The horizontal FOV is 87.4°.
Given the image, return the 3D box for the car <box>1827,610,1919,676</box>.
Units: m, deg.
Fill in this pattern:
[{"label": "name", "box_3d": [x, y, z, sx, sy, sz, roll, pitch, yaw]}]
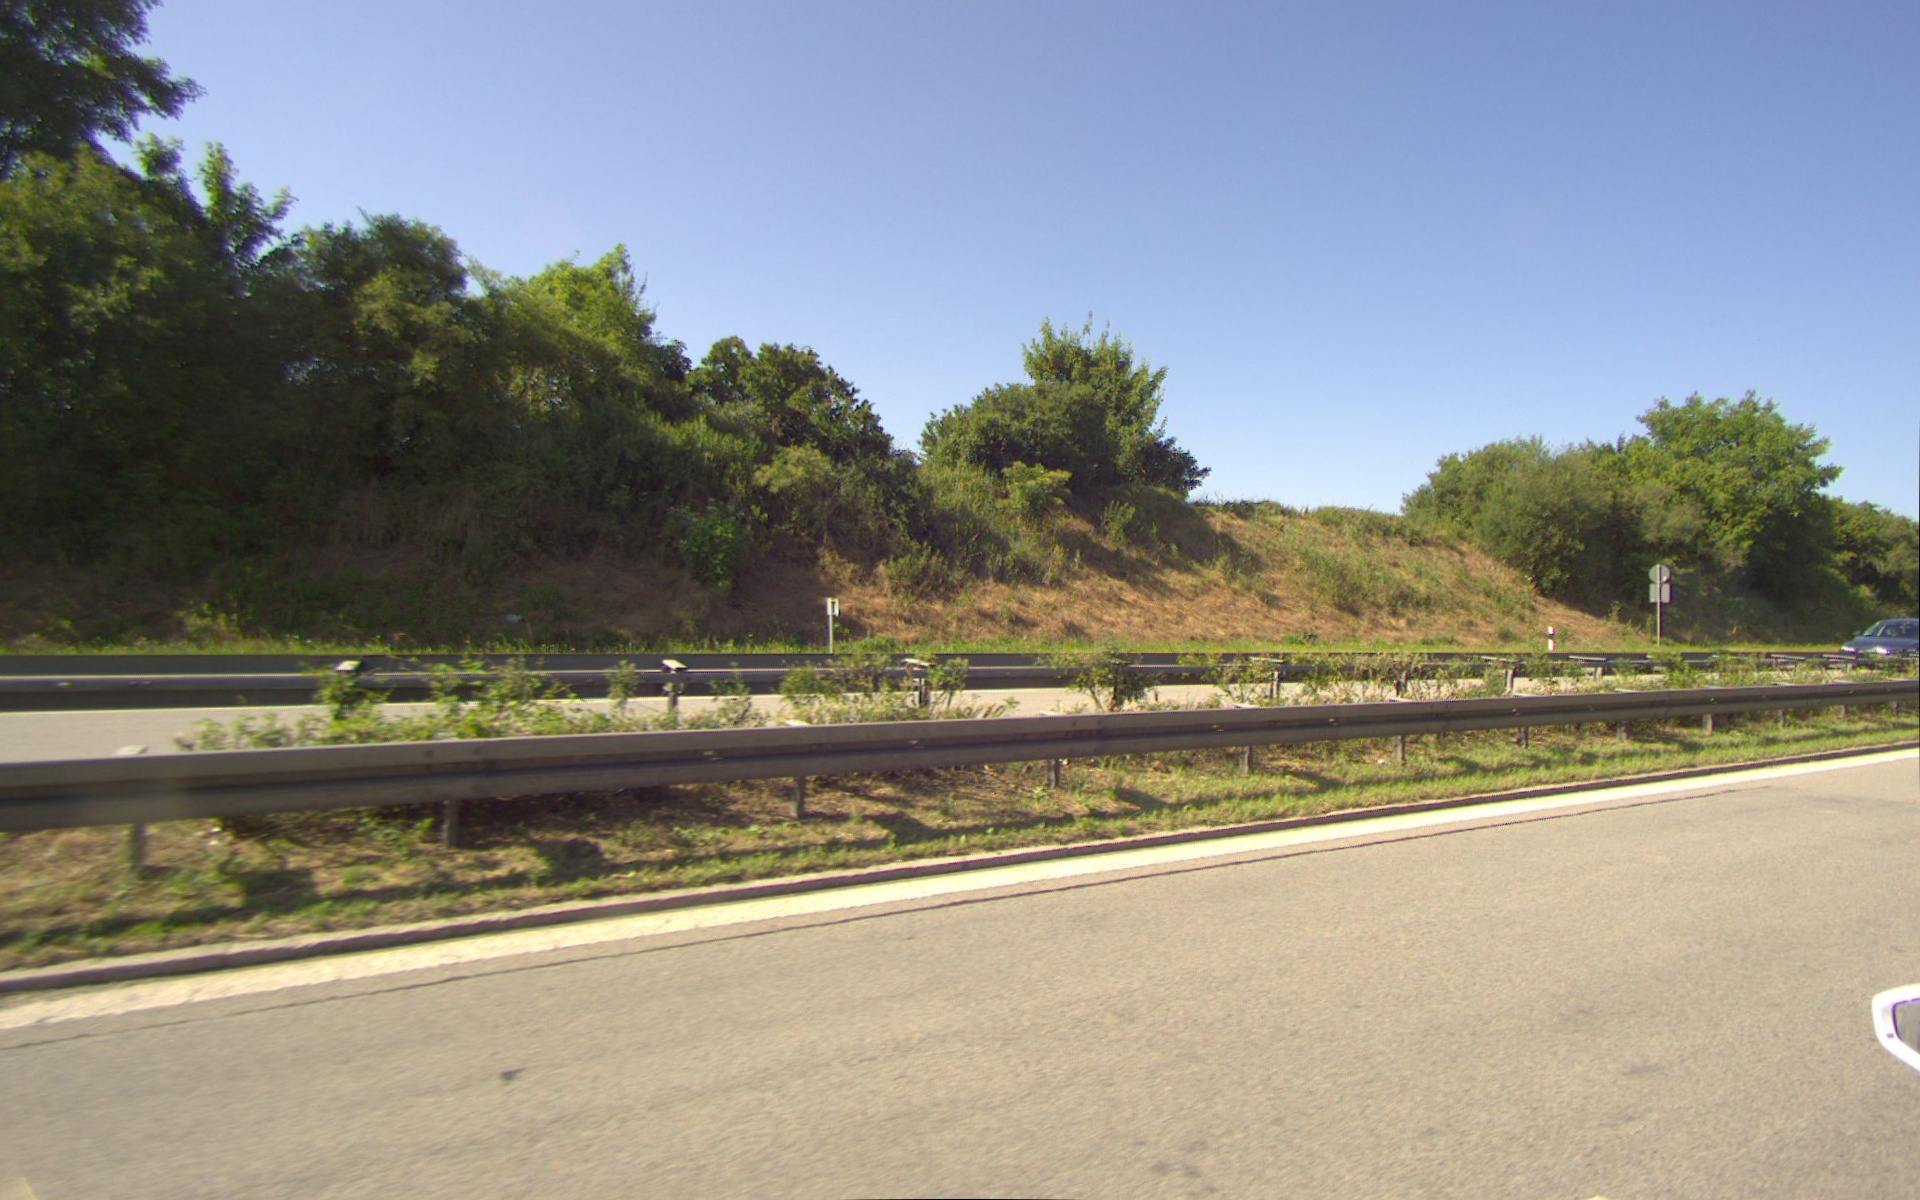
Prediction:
[{"label": "car", "box_3d": [24.611, 1.103, 26.004, 4.623, 1.566, 1.983, 2, -1, -31]}]
